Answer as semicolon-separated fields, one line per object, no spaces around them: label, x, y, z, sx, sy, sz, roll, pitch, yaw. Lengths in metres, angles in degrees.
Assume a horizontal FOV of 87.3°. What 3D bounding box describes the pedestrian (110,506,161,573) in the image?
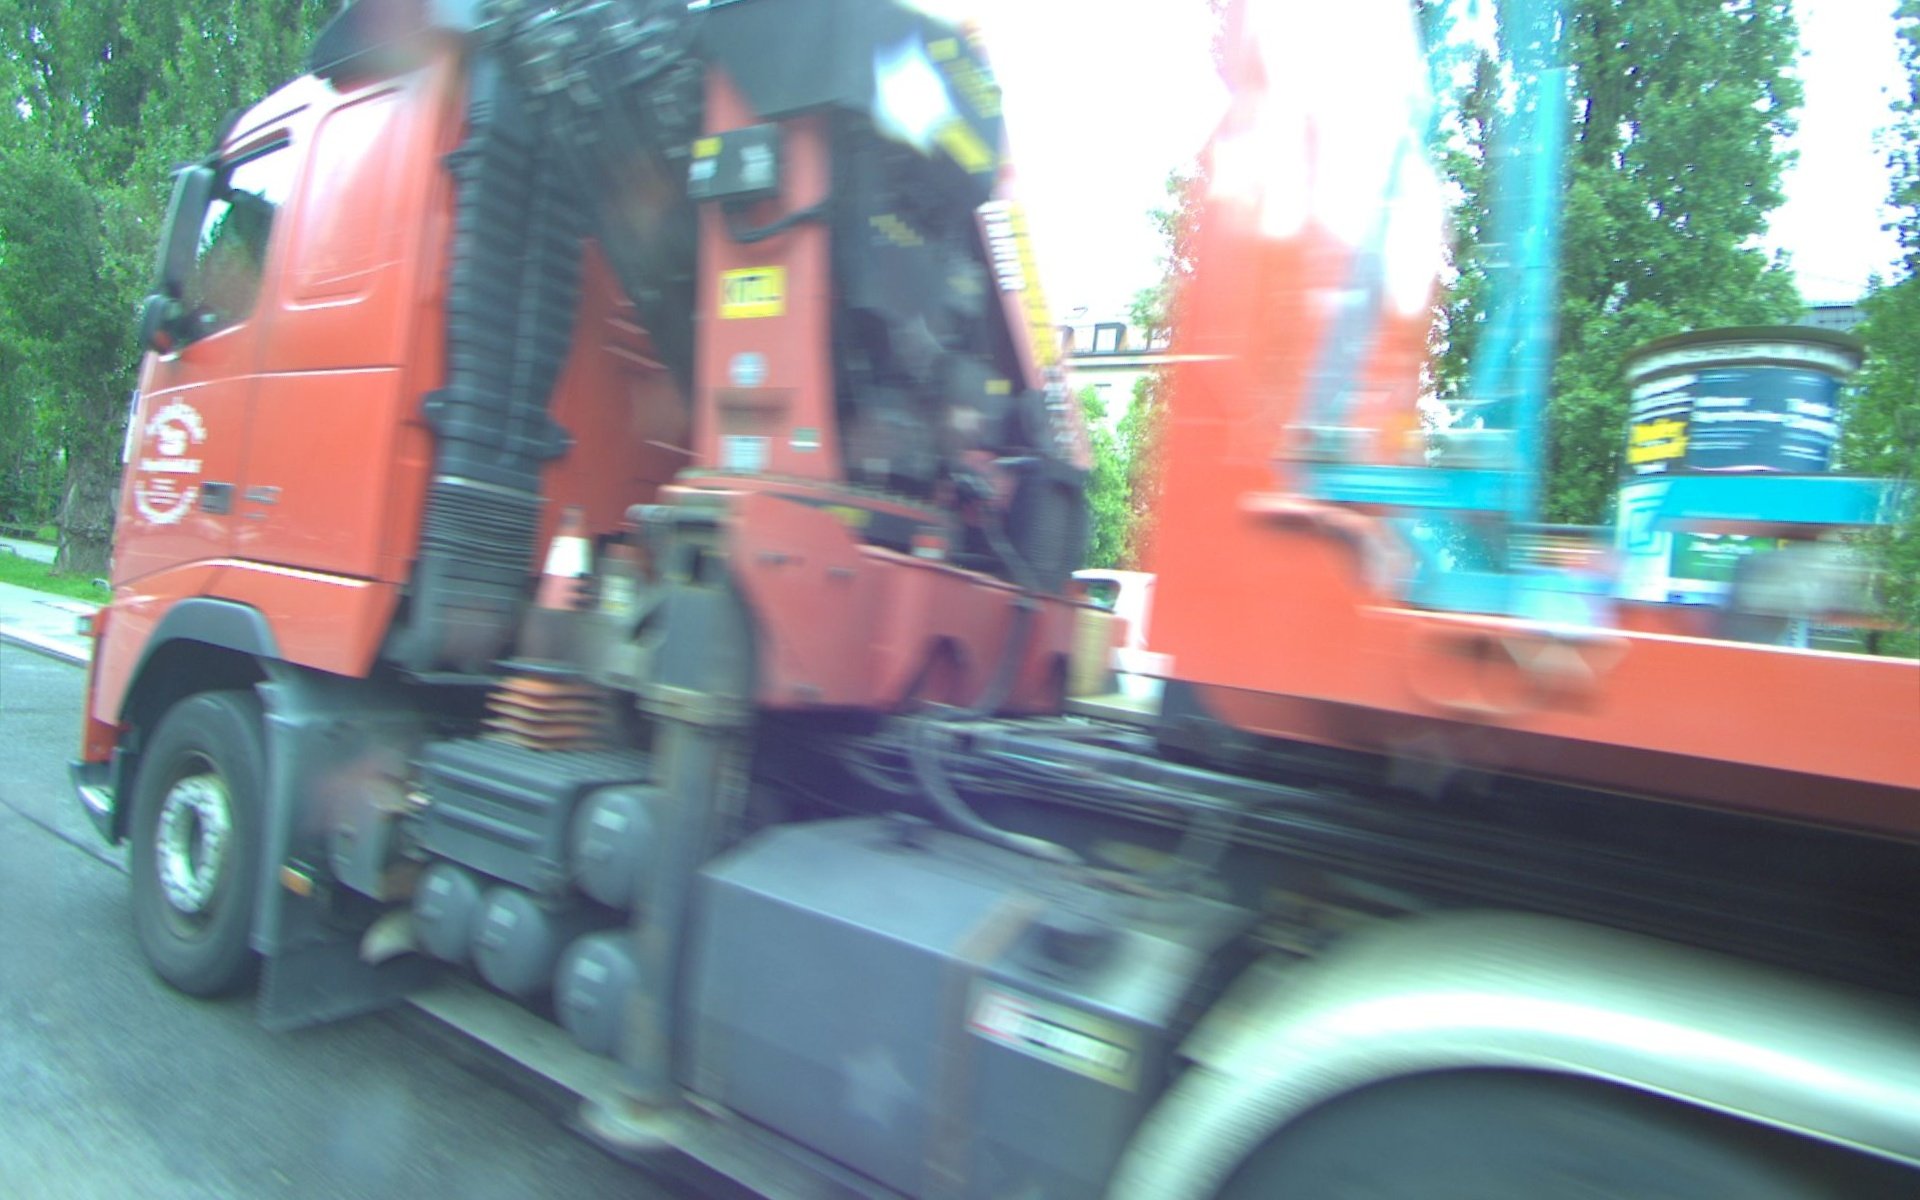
pedestrian;-24.041;-1.758;29.331;0.880;1.790;0.796;7;0;32

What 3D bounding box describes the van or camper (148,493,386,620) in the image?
van or camper;-14.089;-0.918;20.367;4.954;1.956;1.979;7;-1;32

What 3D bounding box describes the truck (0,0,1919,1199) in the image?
truck;1.425;-0.162;2.358;10.107;3.607;2.850;7;-1;31

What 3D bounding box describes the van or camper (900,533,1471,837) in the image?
van or camper;2.105;0.668;9.864;4.902;2.037;2.007;7;-1;31
